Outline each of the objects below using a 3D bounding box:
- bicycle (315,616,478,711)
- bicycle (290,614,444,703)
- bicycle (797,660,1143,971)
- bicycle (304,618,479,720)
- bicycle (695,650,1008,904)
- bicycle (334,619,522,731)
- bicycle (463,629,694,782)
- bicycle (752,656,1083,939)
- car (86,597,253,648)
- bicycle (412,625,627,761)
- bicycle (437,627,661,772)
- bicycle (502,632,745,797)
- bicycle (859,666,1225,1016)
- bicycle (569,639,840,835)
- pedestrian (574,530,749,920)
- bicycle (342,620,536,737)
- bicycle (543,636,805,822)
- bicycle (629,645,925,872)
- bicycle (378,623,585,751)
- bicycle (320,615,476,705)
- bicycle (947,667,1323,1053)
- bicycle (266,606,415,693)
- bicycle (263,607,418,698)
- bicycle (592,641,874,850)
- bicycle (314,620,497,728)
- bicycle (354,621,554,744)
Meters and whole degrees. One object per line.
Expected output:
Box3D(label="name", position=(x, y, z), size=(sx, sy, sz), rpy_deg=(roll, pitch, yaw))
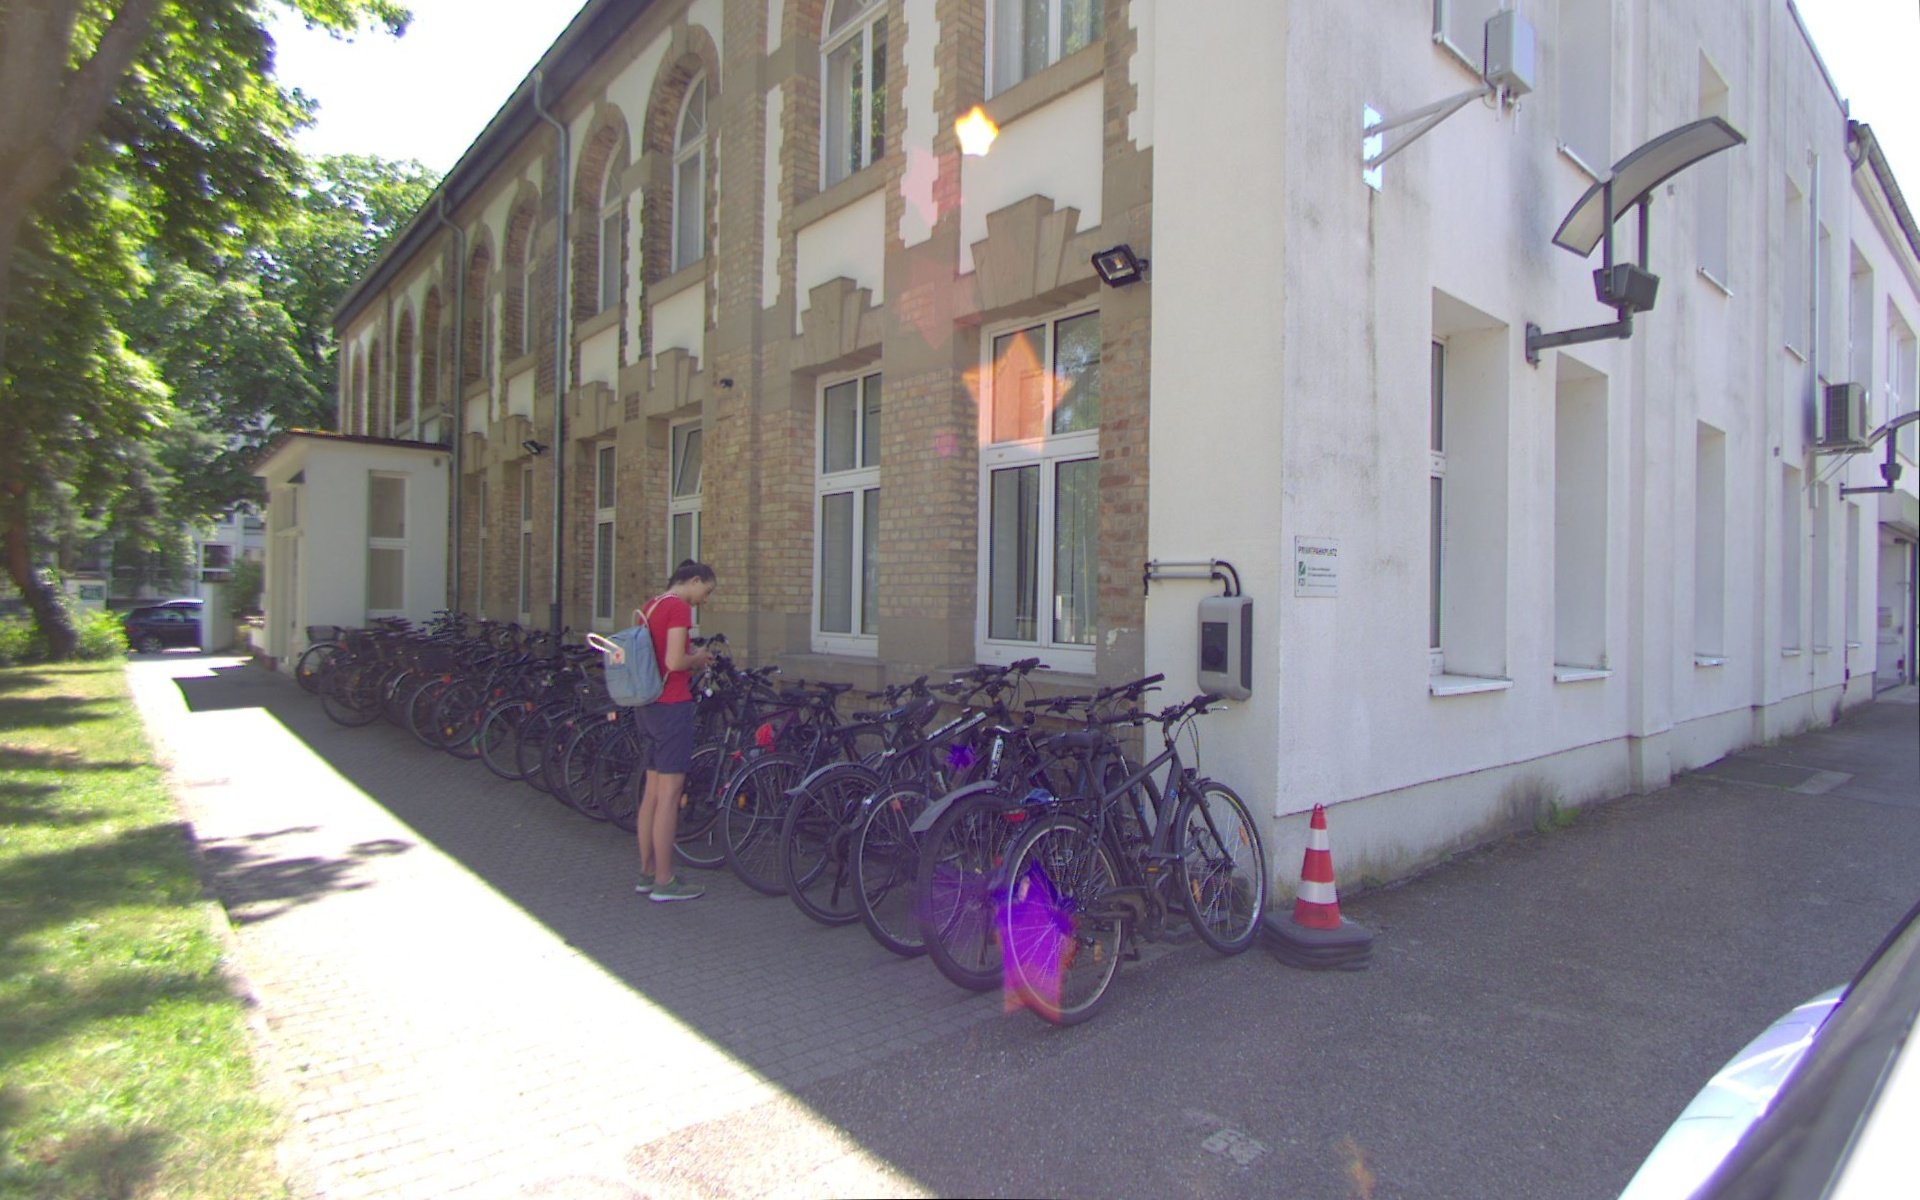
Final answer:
Box3D(label="bicycle", position=(-7.216, 0.783, 13.020), size=(1.794, 1.115, 0.405), rpy_deg=(0, 0, -41))
Box3D(label="bicycle", position=(-8.101, 0.769, 13.881), size=(1.794, 1.115, 0.405), rpy_deg=(0, 0, -41))
Box3D(label="bicycle", position=(0.120, 0.889, 4.710), size=(1.794, 1.115, 0.405), rpy_deg=(0, 0, -41))
Box3D(label="bicycle", position=(-6.801, 0.795, 12.171), size=(1.794, 1.115, 0.405), rpy_deg=(0, 0, -41))
Box3D(label="bicycle", position=(-0.527, 0.877, 5.538), size=(1.794, 1.115, 0.405), rpy_deg=(0, 0, -41))
Box3D(label="bicycle", position=(-5.827, 0.787, 11.167), size=(1.794, 1.115, 0.405), rpy_deg=(0, 0, -41))
Box3D(label="bicycle", position=(-3.161, 0.830, 8.509), size=(1.794, 1.115, 0.405), rpy_deg=(0, 0, -41))
Box3D(label="bicycle", position=(-0.143, 0.884, 5.063), size=(1.794, 1.115, 0.405), rpy_deg=(0, 0, -41))
Box3D(label="car", position=(-22.922, 0.601, 29.475), size=(1.634, 1.359, 3.503), rpy_deg=(0, 1, 22))
Box3D(label="bicycle", position=(-4.060, 0.815, 9.432), size=(1.794, 1.115, 0.405), rpy_deg=(0, 0, -41))
Box3D(label="bicycle", position=(-3.573, 0.823, 8.911), size=(1.794, 1.115, 0.405), rpy_deg=(0, 0, -41))
Box3D(label="bicycle", position=(-2.598, 0.839, 7.970), size=(1.794, 1.115, 0.405), rpy_deg=(0, 0, -41))
Box3D(label="bicycle", position=(0.426, 0.896, 4.292), size=(1.794, 1.115, 0.405), rpy_deg=(0, 0, -41))
Box3D(label="bicycle", position=(-1.678, 0.856, 6.865), size=(1.794, 1.115, 0.405), rpy_deg=(0, 0, -41))
Box3D(label="pedestrian", position=(-1.482, 0.564, 5.030), size=(0.677, 1.771, 0.552), rpy_deg=(0, 0, -39))
Box3D(label="bicycle", position=(-5.500, 0.793, 10.759), size=(1.794, 1.115, 0.405), rpy_deg=(0, 0, -41))
Box3D(label="bicycle", position=(-1.981, 0.850, 7.200), size=(1.794, 1.115, 0.405), rpy_deg=(0, 0, -41))
Box3D(label="bicycle", position=(-1.036, 0.868, 6.079), size=(1.794, 1.115, 0.405), rpy_deg=(0, 0, -41))
Box3D(label="bicycle", position=(-4.652, 0.807, 9.929), size=(1.794, 1.115, 0.405), rpy_deg=(0, 0, -41))
Box3D(label="bicycle", position=(-7.518, 0.774, 13.600), size=(1.794, 1.115, 0.405), rpy_deg=(0, 0, -41))
Box3D(label="bicycle", position=(0.765, 0.878, 3.964), size=(1.794, 1.115, 0.405), rpy_deg=(0, 0, -41))
Box3D(label="bicycle", position=(-9.156, 0.708, 15.008), size=(1.795, 1.115, 0.405), rpy_deg=(-4, 3, -41))
Box3D(label="bicycle", position=(-8.762, 0.718, 14.371), size=(1.795, 1.115, 0.405), rpy_deg=(-4, 3, -41))
Box3D(label="bicycle", position=(-1.403, 0.861, 6.520), size=(1.794, 1.115, 0.405), rpy_deg=(0, 0, -41))
Box3D(label="bicycle", position=(-6.309, 0.804, 11.587), size=(1.794, 1.115, 0.405), rpy_deg=(0, 0, -41))
Box3D(label="bicycle", position=(-5.138, 0.800, 10.362), size=(1.794, 1.115, 0.405), rpy_deg=(0, 0, -41))
